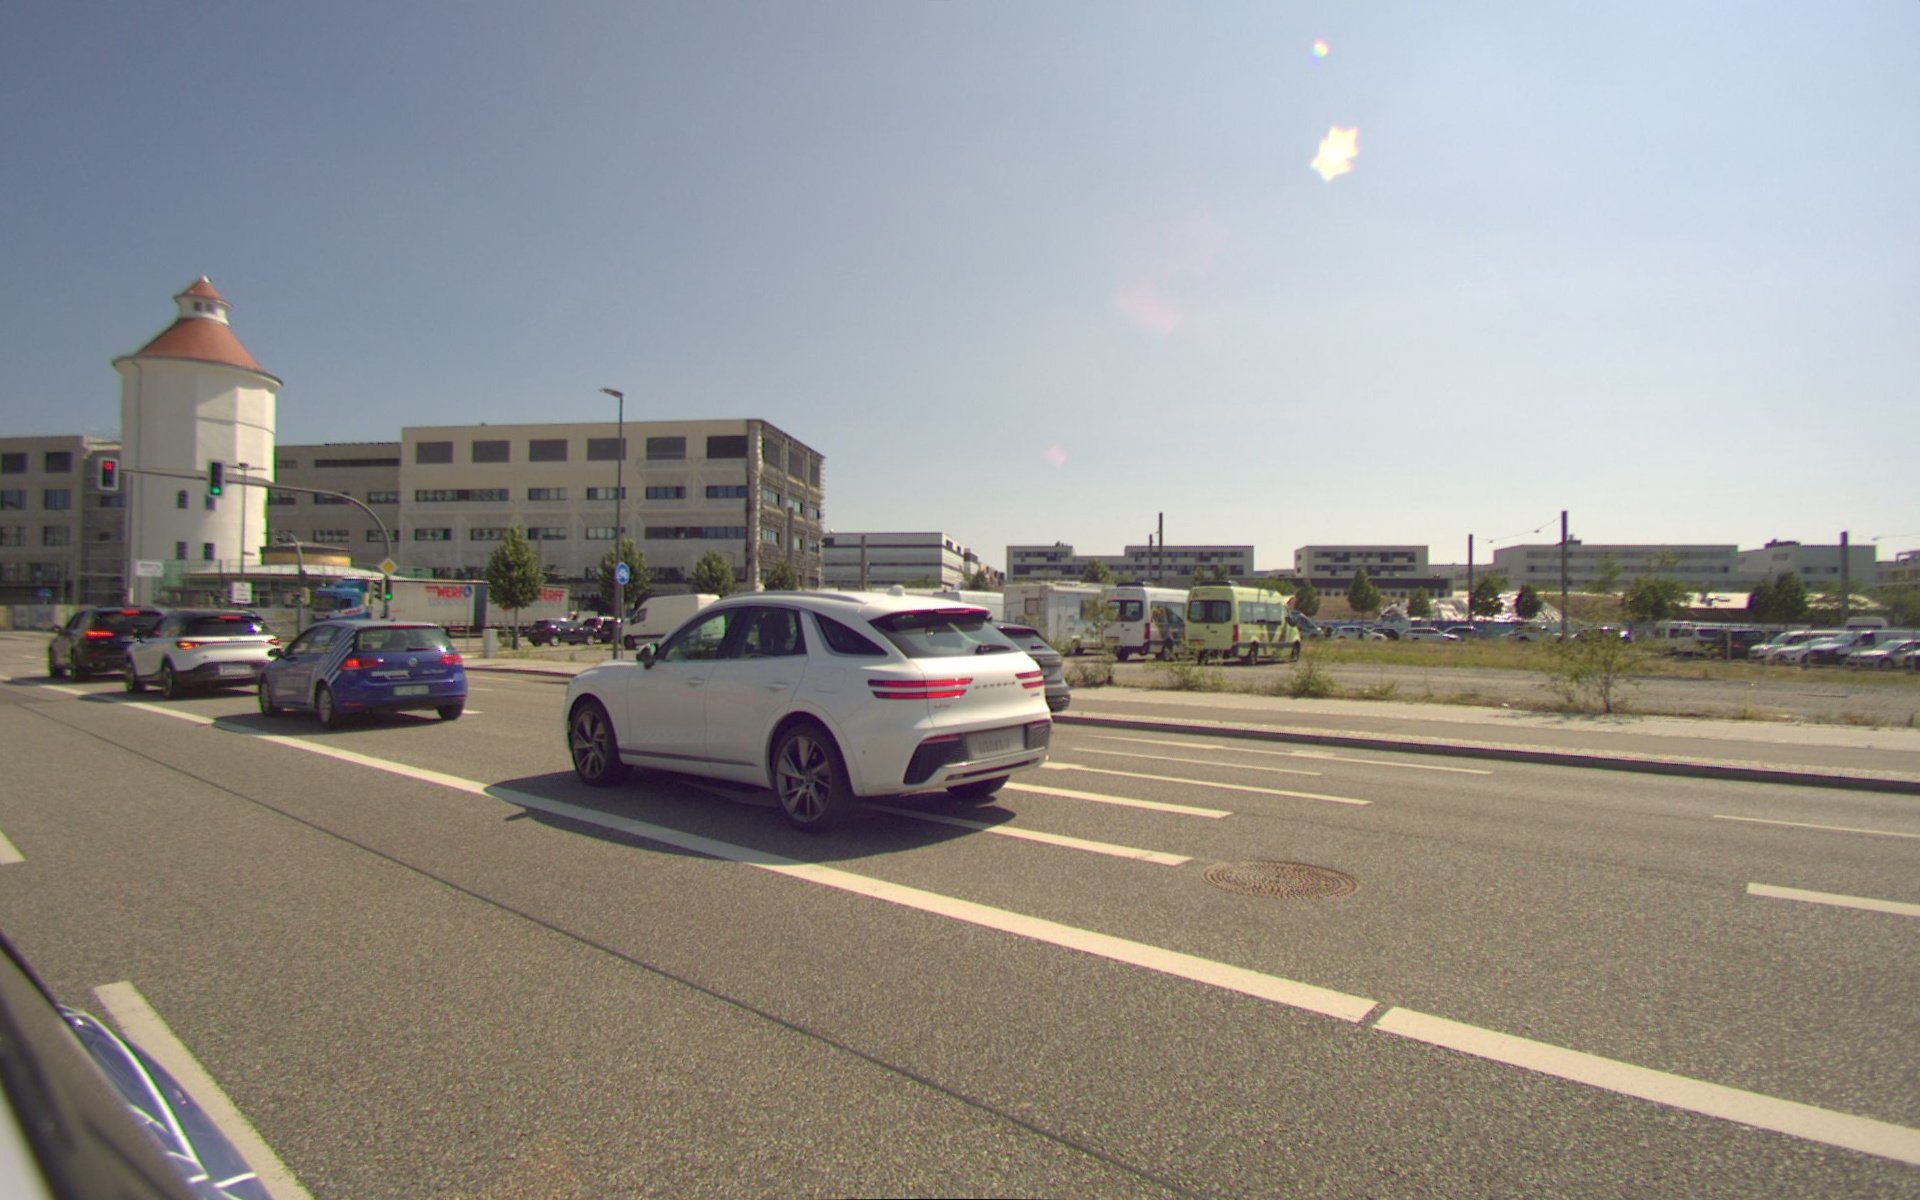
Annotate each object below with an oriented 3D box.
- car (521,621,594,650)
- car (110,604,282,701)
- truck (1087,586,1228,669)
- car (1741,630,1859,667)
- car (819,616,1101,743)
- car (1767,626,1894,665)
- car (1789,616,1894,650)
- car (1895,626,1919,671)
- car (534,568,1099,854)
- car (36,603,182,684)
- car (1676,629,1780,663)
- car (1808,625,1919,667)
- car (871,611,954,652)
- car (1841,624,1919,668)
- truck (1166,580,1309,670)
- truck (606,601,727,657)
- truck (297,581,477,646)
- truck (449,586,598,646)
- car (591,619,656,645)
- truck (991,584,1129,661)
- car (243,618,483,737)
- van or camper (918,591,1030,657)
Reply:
[{"bbox_3d":[-24.557,2.129,61.826,1.870,1.652,3.965,0,-1,26],"label":"car"},{"bbox_3d":[-14.960,0.973,19.756,4.094,1.695,1.761,-2,-2,39],"label":"car"},{"bbox_3d":[7.411,0.893,37.551,2.570,2.845,5.773,1,1,42],"label":"truck"},{"bbox_3d":[46.270,2.652,55.841,4.601,1.985,1.994,0,-2,9],"label":"car"},{"bbox_3d":[-0.072,0.985,14.035,3.597,1.425,1.874,1,1,41],"label":"car"},{"bbox_3d":[45.437,2.361,52.918,4.601,1.985,1.994,0,-2,9],"label":"car"},{"bbox_3d":[53.089,1.970,61.031,4.431,1.985,1.834,0,-2,9],"label":"car"},{"bbox_3d":[44.631,2.171,44.617,4.601,1.985,1.994,0,-2,9],"label":"car"},{"bbox_3d":[-1.393,0.656,8.162,4.728,1.662,1.893,-1,0,41],"label":"car"},{"bbox_3d":[-21.042,1.038,24.950,4.650,1.802,1.920,-2,-1,39],"label":"car"},{"bbox_3d":[46.532,2.772,61.410,4.601,1.985,1.994,0,-2,9],"label":"car"},{"bbox_3d":[45.396,2.268,49.730,5.335,1.985,1.994,-1,-1,9],"label":"car"},{"bbox_3d":[-2.102,1.401,45.753,1.655,1.771,3.829,-1,-1,37],"label":"car"},{"bbox_3d":[44.525,2.143,47.332,4.601,1.985,1.994,0,-2,9],"label":"car"},{"bbox_3d":[9.915,0.822,35.675,2.598,2.847,6.574,-1,-1,37],"label":"truck"},{"bbox_3d":[-14.669,1.408,50.576,5.914,2.675,2.154,0,-2,27],"label":"truck"},{"bbox_3d":[-38.480,0.790,68.670,3.282,4.098,10.894,0,1,23],"label":"truck"},{"bbox_3d":[-33.610,1.108,78.608,3.331,4.307,10.839,0,1,30],"label":"truck"},{"bbox_3d":[-22.187,2.089,66.916,1.870,1.652,3.965,0,-1,26],"label":"car"},{"bbox_3d":[4.176,0.798,41.323,2.570,2.923,6.080,1,1,42],"label":"truck"},{"bbox_3d":[-8.657,0.993,14.525,4.280,1.432,1.767,-1,-1,42],"label":"car"},{"bbox_3d":[0.657,0.992,43.745,2.259,2.682,4.848,-1,-1,41],"label":"van or camper"}]
